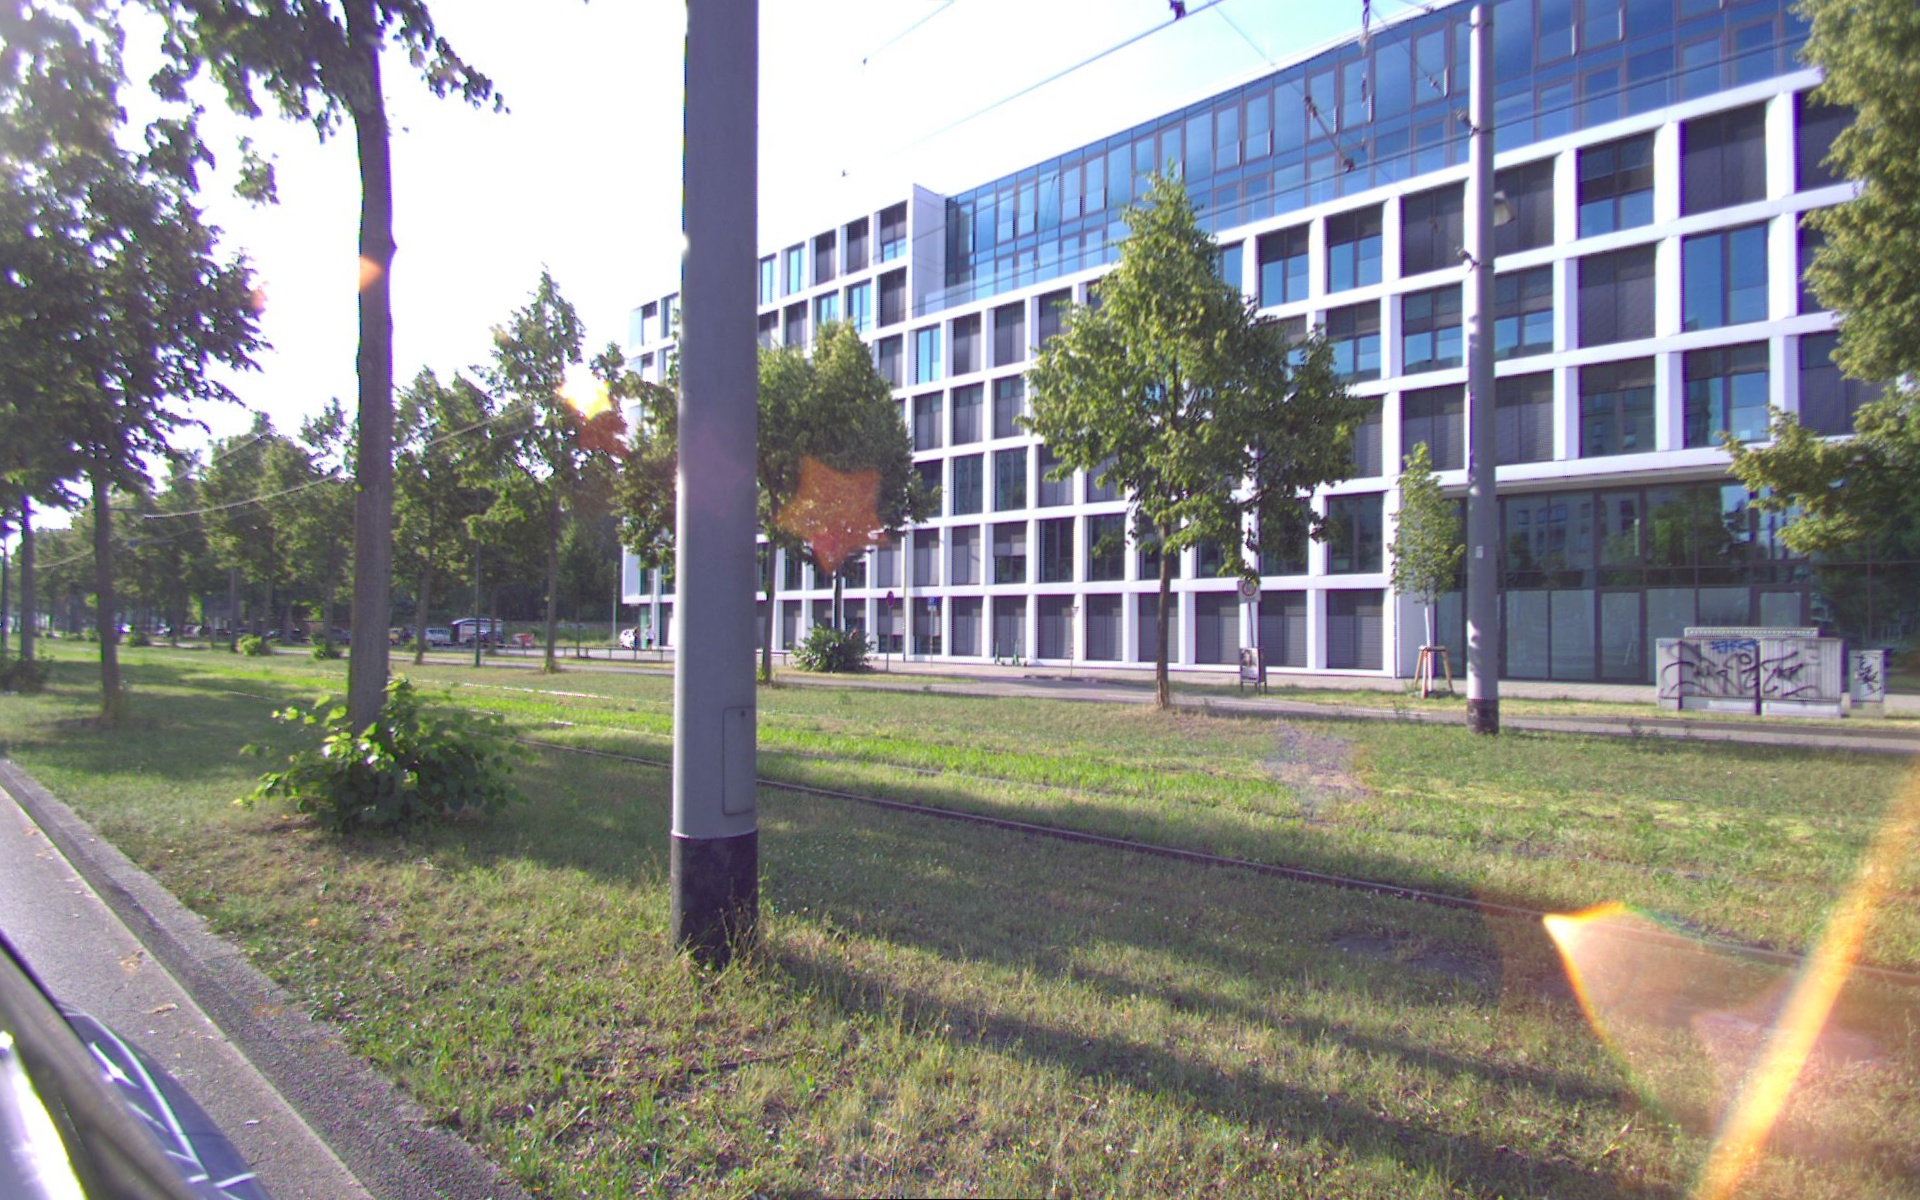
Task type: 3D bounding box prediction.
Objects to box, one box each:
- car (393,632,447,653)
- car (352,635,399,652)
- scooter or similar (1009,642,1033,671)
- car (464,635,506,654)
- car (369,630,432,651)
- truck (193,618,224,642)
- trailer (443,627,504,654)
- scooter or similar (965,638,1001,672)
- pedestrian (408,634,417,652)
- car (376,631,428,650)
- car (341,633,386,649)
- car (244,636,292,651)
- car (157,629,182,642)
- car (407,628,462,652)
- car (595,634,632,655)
[{"bbox_3d":[-48.153,3.771,90.310,1.758,1.655,3.949,-1,0,42],"label":"car"},{"bbox_3d":[-57.143,4.215,98.989,1.810,1.439,3.606,-1,0,44],"label":"car"},{"bbox_3d":[2.717,2.518,45.242,0.331,1.235,1.302,-1,0,-34],"label":"scooter or similar"},{"bbox_3d":[-38.474,3.603,81.923,3.758,1.404,1.663,-1,0,39],"label":"car"},{"bbox_3d":[-54.169,3.895,98.009,1.886,1.748,5.003,-1,0,44],"label":"car"},{"bbox_3d":[-113.851,4.521,153.238,2.854,3.542,7.952,-1,0,-43],"label":"truck"},{"bbox_3d":[-40.905,3.404,85.111,4.314,2.069,1.759,-1,0,-45],"label":"trailer"},{"bbox_3d":[1.076,2.503,46.341,1.906,1.488,0.415,-1,0,-44],"label":"scooter or similar"},{"bbox_3d":[-47.022,3.715,86.976,0.568,1.491,0.516,-1,0,41],"label":"pedestrian"},{"bbox_3d":[-52.875,3.846,95.942,1.857,1.572,3.942,-1,0,44],"label":"car"},{"bbox_3d":[-61.671,4.253,104.605,3.810,1.497,1.746,-1,0,-40],"label":"car"},{"bbox_3d":[-69.921,4.424,102.226,3.991,1.446,1.682,-1,0,10],"label":"car"},{"bbox_3d":[-96.892,4.384,124.031,4.475,1.442,1.810,-1,0,43],"label":"car"},{"bbox_3d":[-45.904,3.455,88.455,1.758,1.962,3.949,-1,0,42],"label":"car"},{"bbox_3d":[-29.337,3.723,85.679,1.824,1.608,4.009,-1,0,-37],"label":"car"}]
